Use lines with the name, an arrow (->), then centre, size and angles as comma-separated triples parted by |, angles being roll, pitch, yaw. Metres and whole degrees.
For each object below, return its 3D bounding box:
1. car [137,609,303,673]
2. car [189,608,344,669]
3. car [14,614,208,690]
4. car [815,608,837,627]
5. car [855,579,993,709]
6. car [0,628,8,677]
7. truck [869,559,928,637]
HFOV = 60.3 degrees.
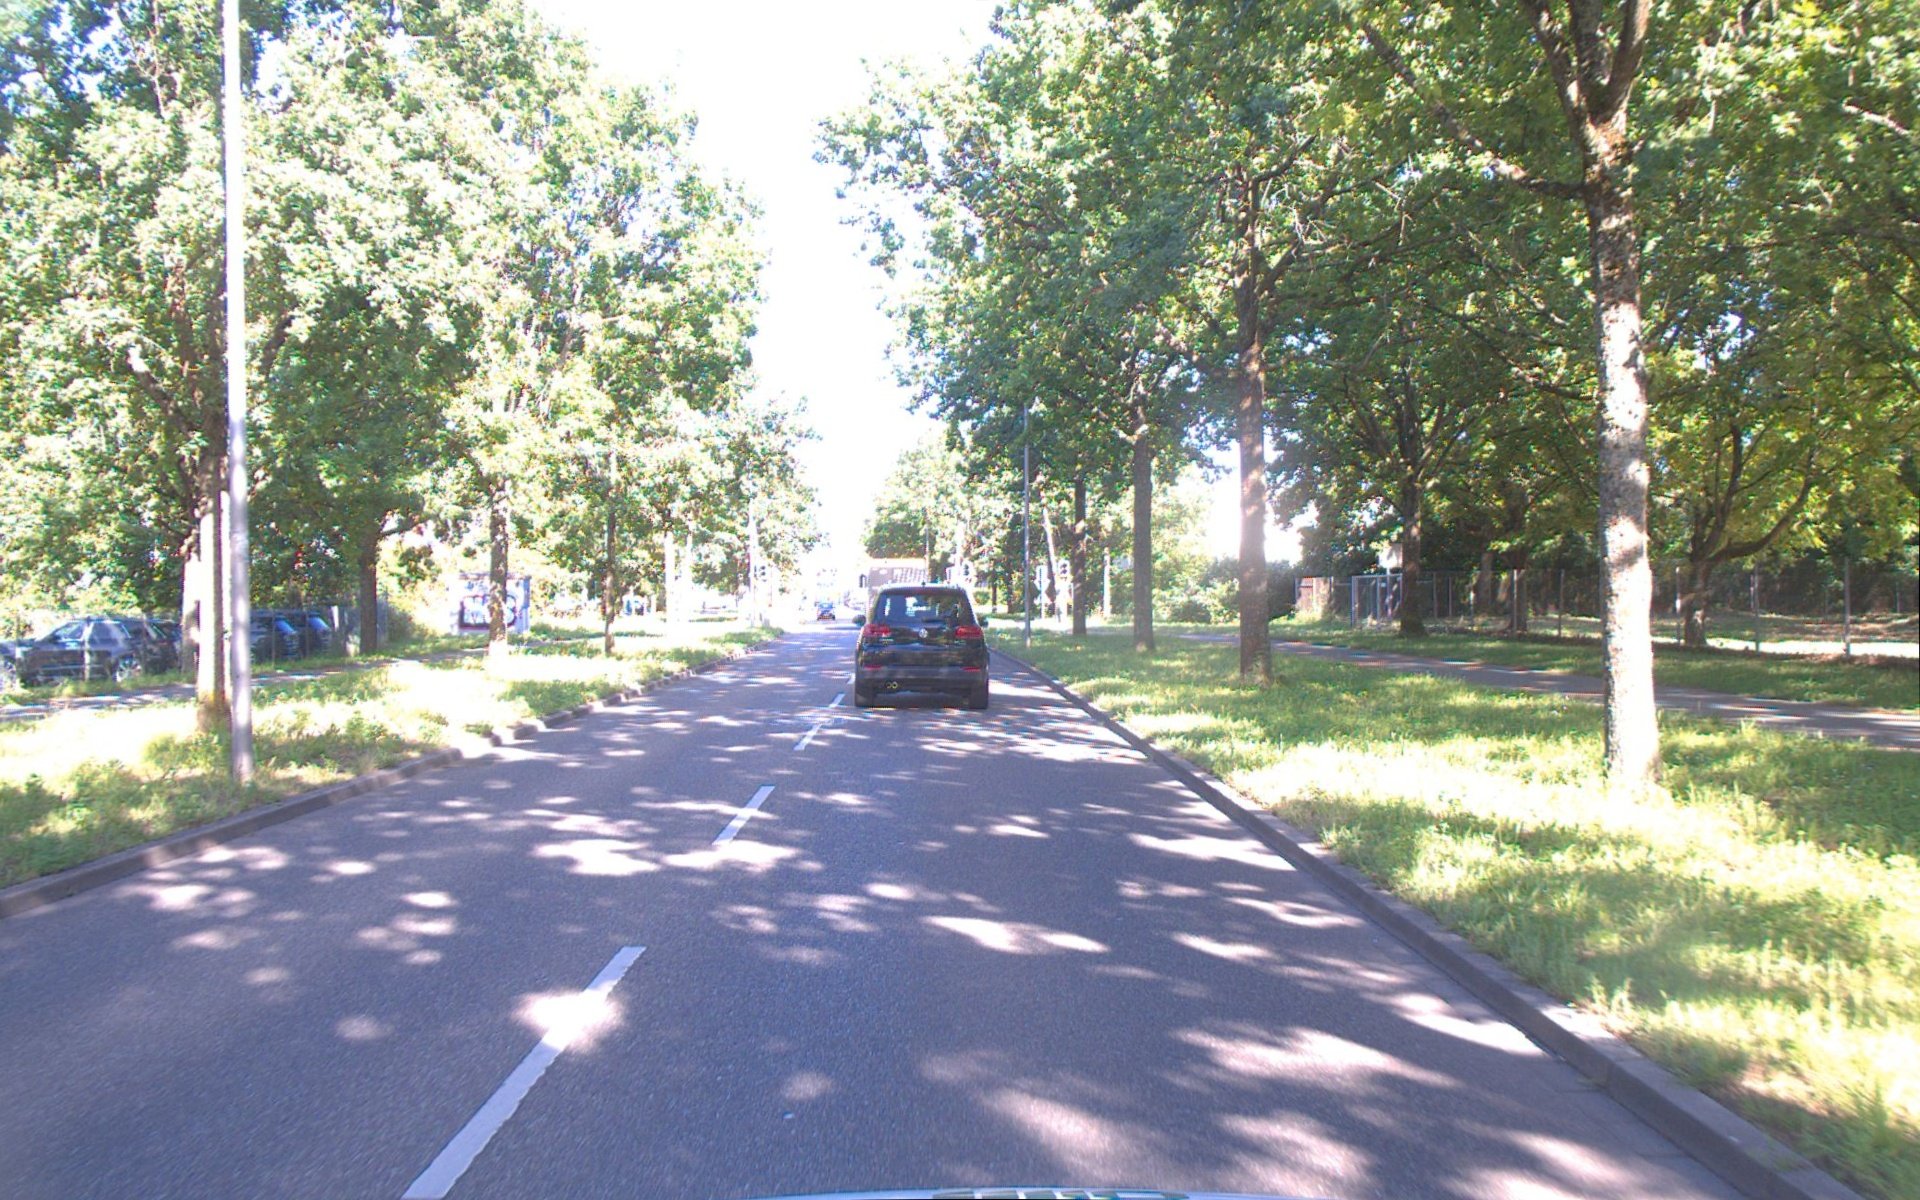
car -> -22.328, 1.229, 50.027 | 4.109, 1.833, 1.997 | 1, 0, -6
car -> -22.121, 1.217, 52.888 | 4.109, 1.833, 1.997 | 1, 0, -6
car -> -21.633, 1.309, 42.272 | 3.912, 1.833, 1.996 | 1, 0, -8
car -> -11.582, 1.513, 143.184 | 1.533, 1.531, 4.000 | 1, 0, 0
car -> -0.541, 0.573, 23.392 | 1.746, 1.662, 3.998 | 1, 0, -2
car -> -32.496, 1.735, 52.727 | 1.956, 1.594, 4.877 | 1, 0, -7
truck -> -2.769, -0.097, 74.363 | 2.462, 3.300, 8.148 | -1, 0, -2
